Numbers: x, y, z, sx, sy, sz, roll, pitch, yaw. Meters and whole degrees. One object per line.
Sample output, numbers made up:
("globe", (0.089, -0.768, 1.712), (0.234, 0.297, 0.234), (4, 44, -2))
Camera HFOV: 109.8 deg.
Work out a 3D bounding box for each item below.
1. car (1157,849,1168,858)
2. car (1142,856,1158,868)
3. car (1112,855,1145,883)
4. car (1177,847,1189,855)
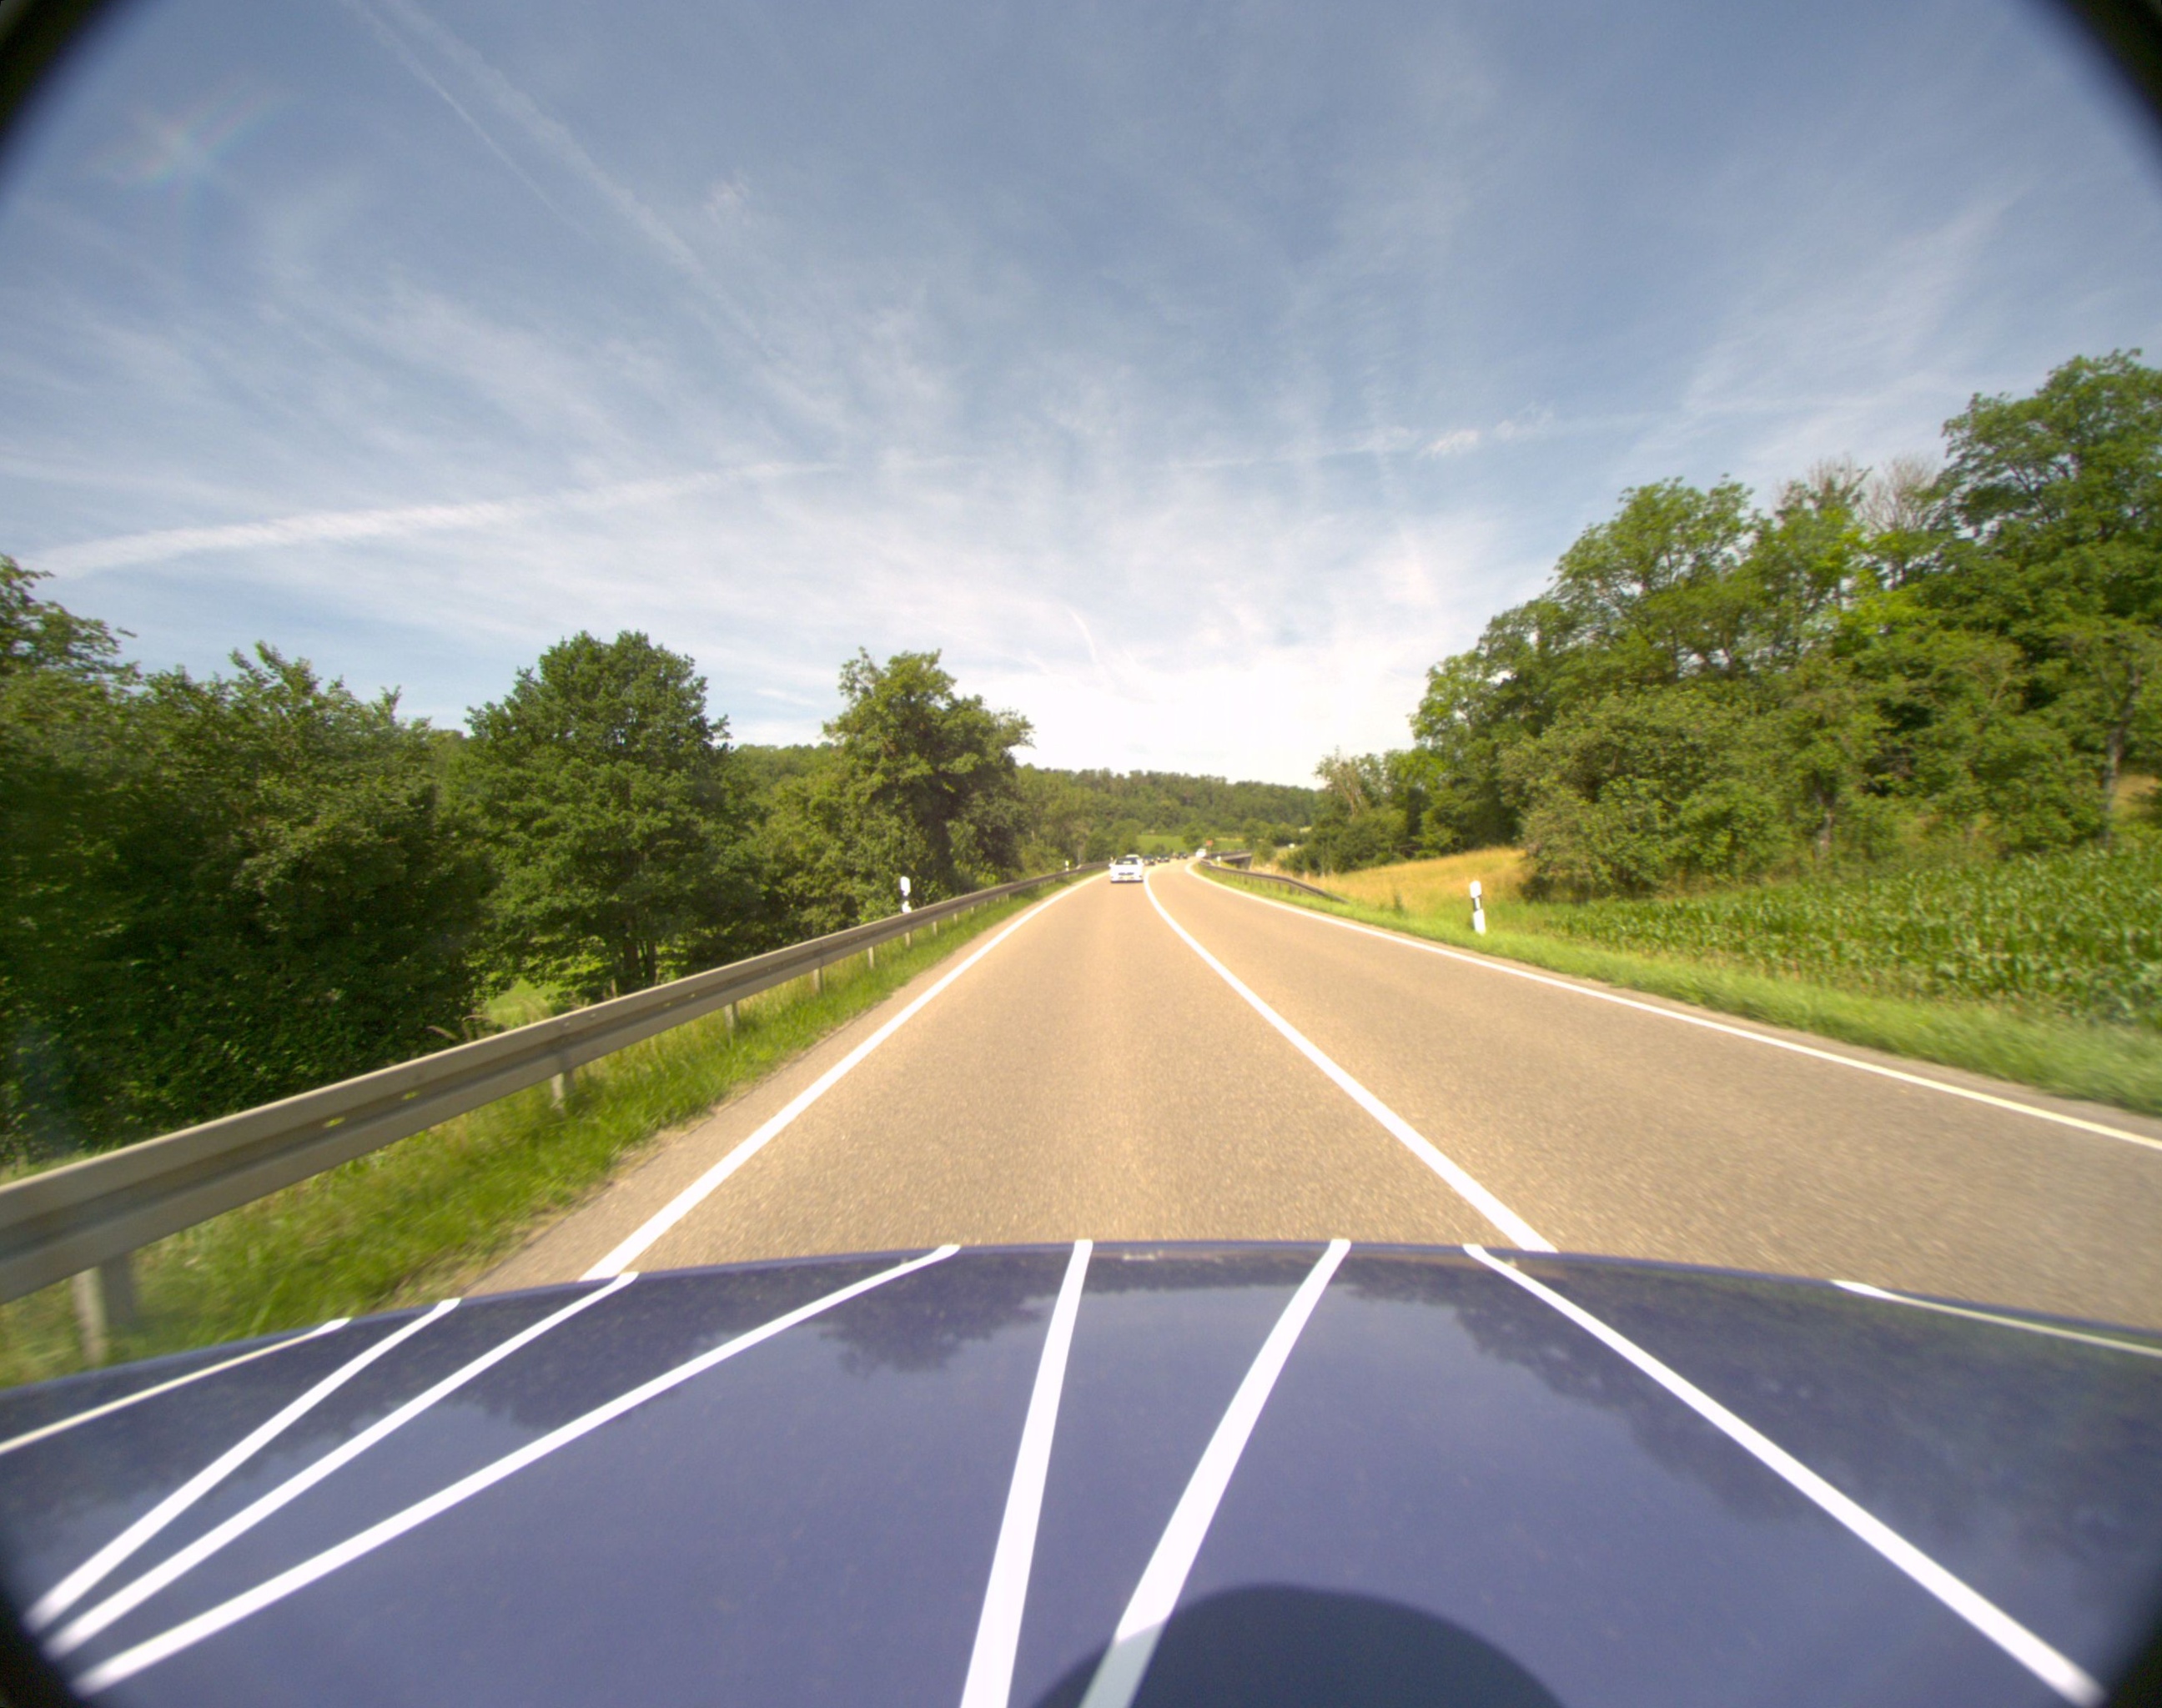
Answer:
("car", (13.353, -0.110, 124.219), (1.742, 1.445, 4.038), (-2, 1, 8))
("car", (9.065, 1.002, 100.157), (1.741, 1.445, 4.038), (-2, 1, 10))
("car", (2.767, 0.832, 44.120), (1.742, 1.445, 4.036), (-2, 1, 4))
("car", (20.936, -0.572, 155.574), (1.740, 1.445, 4.040), (-1, 1, 18))
